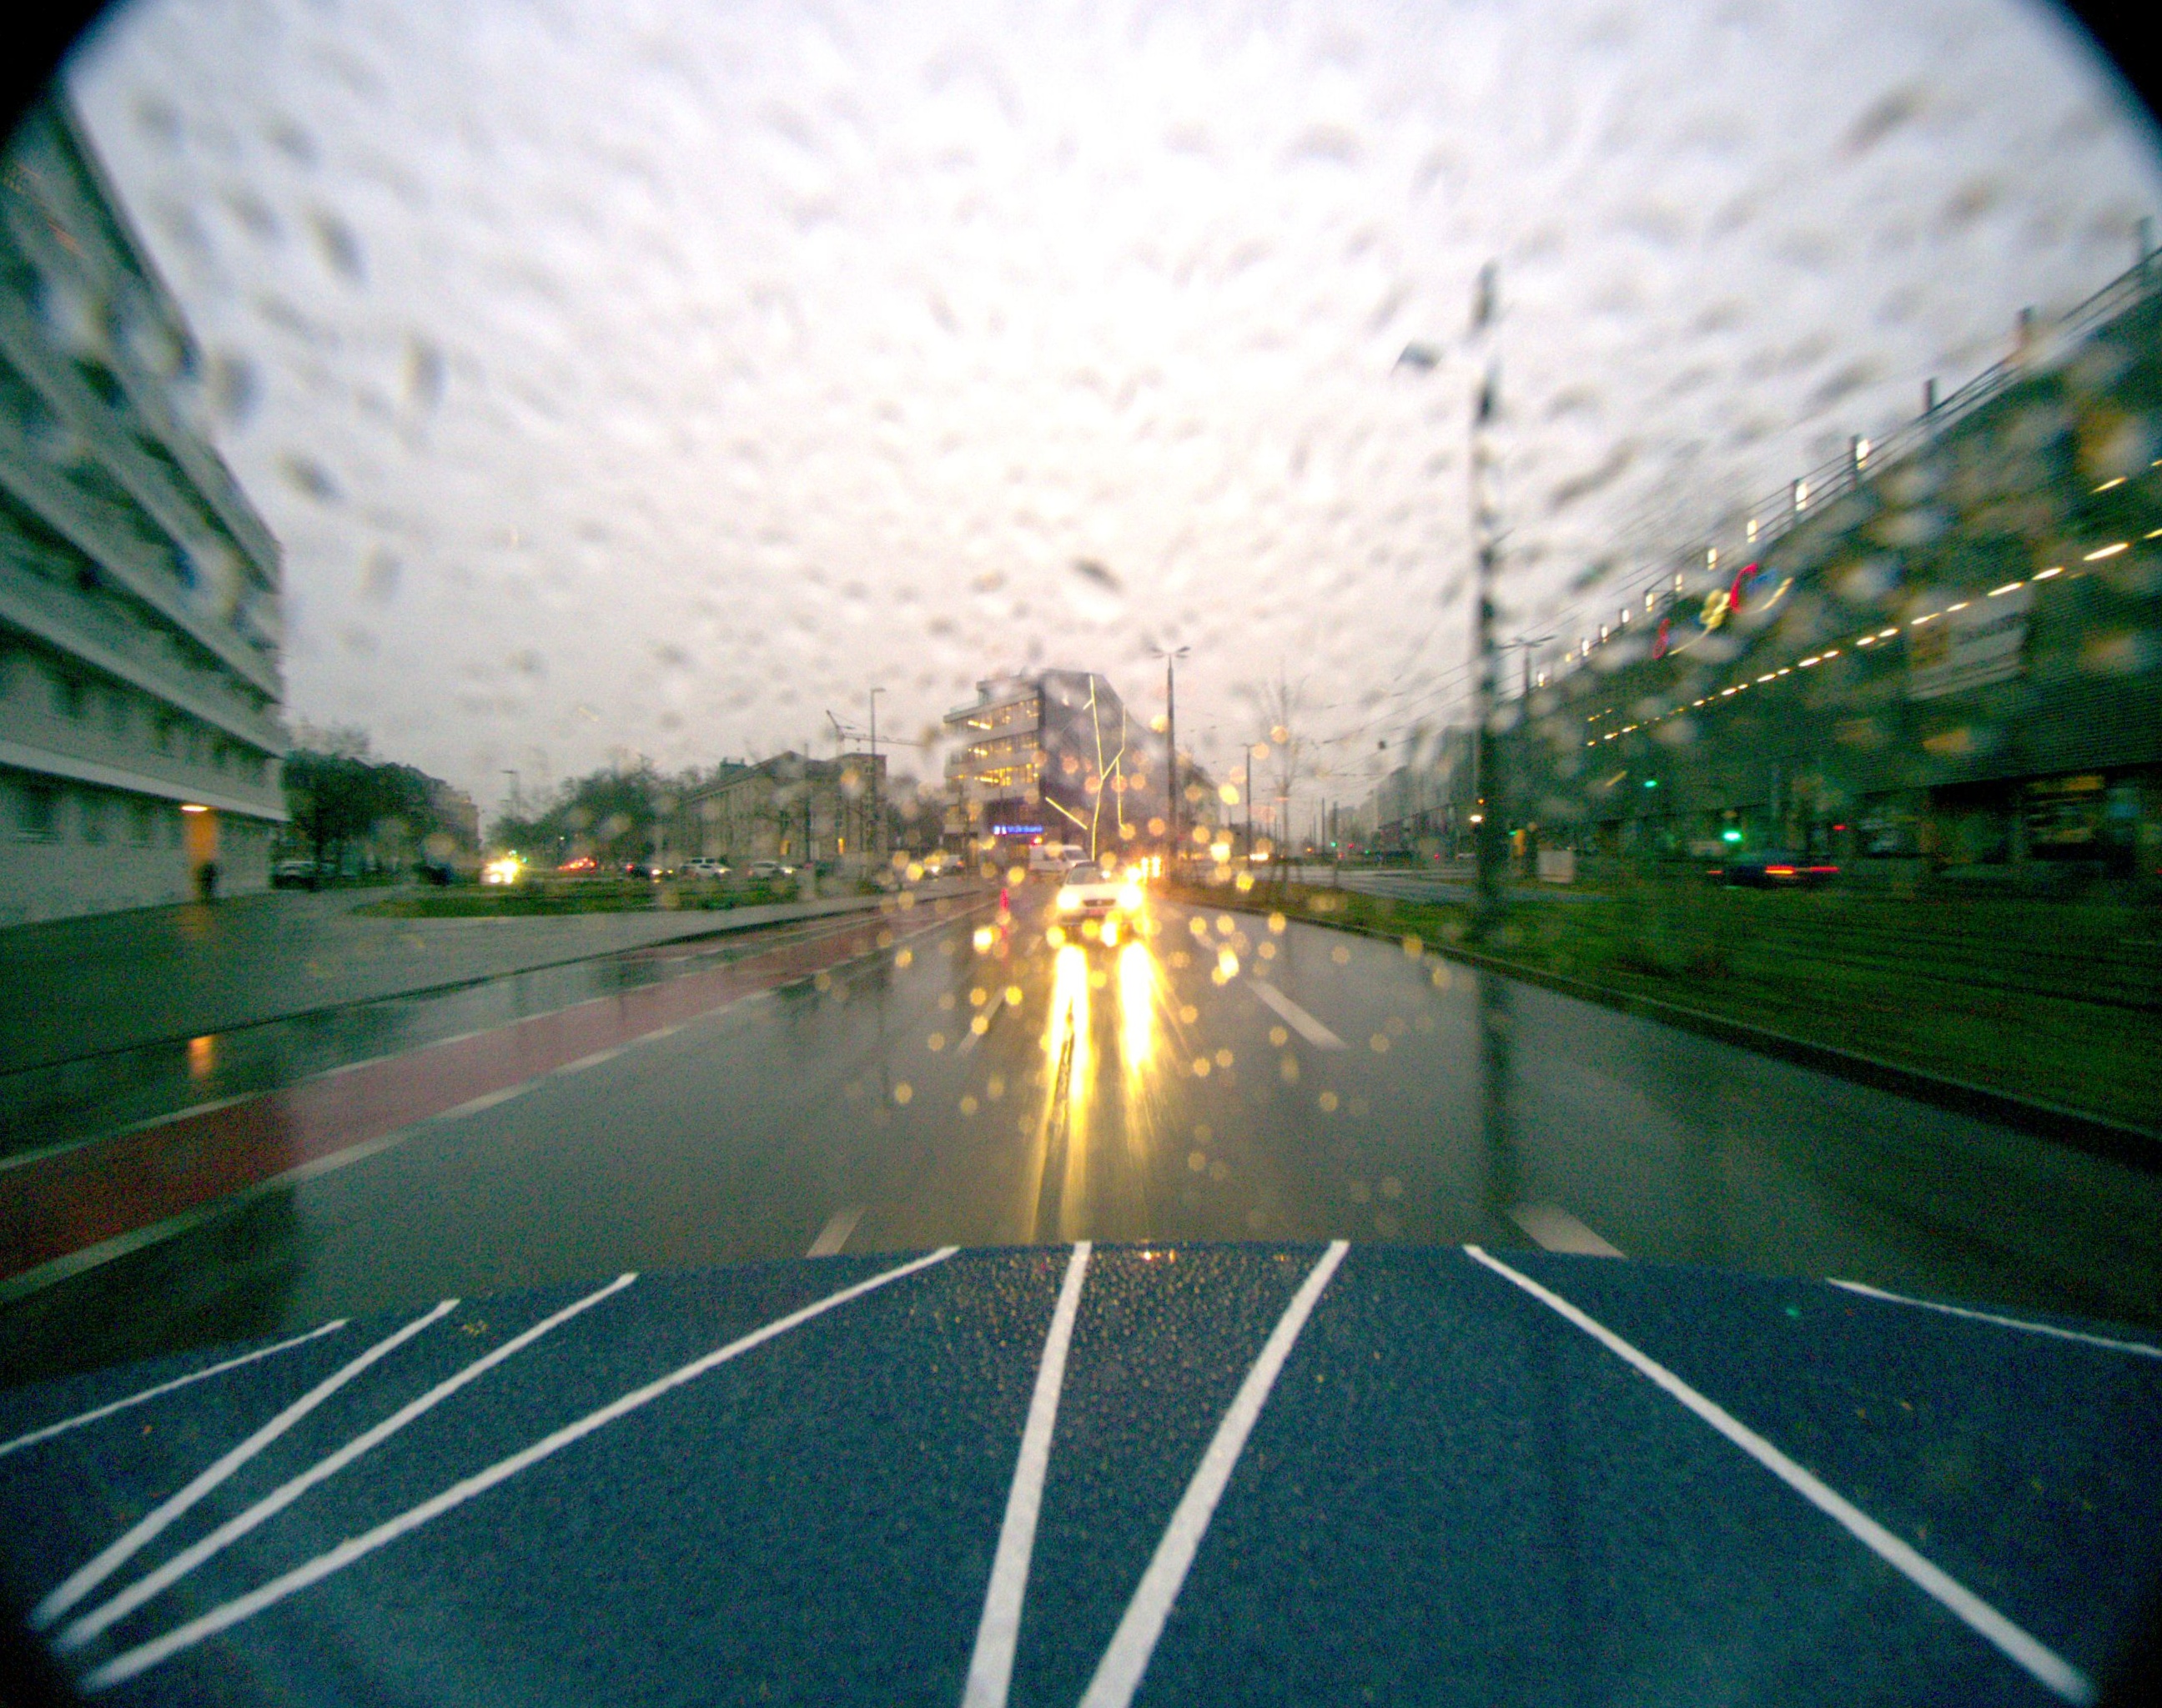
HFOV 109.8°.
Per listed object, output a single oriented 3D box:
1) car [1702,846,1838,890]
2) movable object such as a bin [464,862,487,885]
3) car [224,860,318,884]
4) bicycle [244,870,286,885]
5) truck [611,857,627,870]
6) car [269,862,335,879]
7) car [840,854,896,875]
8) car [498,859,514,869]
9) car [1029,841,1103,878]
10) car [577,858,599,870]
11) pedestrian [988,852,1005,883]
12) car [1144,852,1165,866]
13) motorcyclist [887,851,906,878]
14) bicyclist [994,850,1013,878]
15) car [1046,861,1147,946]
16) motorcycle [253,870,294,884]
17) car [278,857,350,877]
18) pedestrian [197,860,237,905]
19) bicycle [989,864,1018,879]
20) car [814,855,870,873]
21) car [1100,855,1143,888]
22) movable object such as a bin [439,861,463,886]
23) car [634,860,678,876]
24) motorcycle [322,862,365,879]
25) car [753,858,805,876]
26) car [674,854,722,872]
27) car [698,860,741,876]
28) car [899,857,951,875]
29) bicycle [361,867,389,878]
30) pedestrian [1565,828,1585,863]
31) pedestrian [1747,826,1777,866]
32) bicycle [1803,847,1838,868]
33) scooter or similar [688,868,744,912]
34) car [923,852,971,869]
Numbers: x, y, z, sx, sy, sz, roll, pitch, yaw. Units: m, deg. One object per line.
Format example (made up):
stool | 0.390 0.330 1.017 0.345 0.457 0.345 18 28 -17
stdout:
car | 24.252 0.463 26.946 1.818 1.434 3.960 -1 0 12
movable object such as a bin | -40.576 1.293 50.902 1.055 1.501 1.249 -1 1 -33
car | -57.177 1.251 53.715 1.738 1.560 4.163 -1 0 20
bicycle | -53.097 1.538 49.437 0.445 0.926 1.799 0 -1 27
truck | -74.134 1.488 121.899 1.842 2.032 3.989 -1 0 -36
car | -68.671 1.435 67.042 1.517 1.391 3.694 -1 0 22
car | -17.582 0.859 62.780 3.998 1.590 1.905 0 2 17
car | -79.361 1.385 104.862 1.756 1.362 3.605 -1 0 -37
car | -1.131 0.358 54.015 2.247 2.449 5.653 -2 1 -39
car | -81.262 1.625 125.237 1.908 1.861 4.948 -4 3 -45
pedestrian | -5.169 0.789 46.434 0.777 1.867 0.633 -1 1 -36
car | 9.477 0.656 97.708 1.830 1.652 4.005 -1 0 16
motorcyclist | -12.690 0.714 52.260 0.919 1.871 0.888 0 1 44
bicyclist | -5.269 0.700 51.700 0.987 1.879 0.794 0 1 23
car | 0.415 0.913 15.907 1.787 1.371 4.223 -2 1 4
motorcycle | -54.391 1.576 51.204 0.511 0.926 1.799 0 -1 22
car | -72.419 1.202 71.815 1.777 1.757 4.352 -1 0 21
pedestrian | -31.875 1.042 28.037 0.632 1.623 0.722 -1 1 9
bicycle | -5.255 1.209 51.618 1.862 0.968 0.658 -1 1 23
car | -21.102 0.901 67.059 4.353 1.561 1.829 -1 0 16
car | 1.922 0.764 35.209 1.722 1.380 3.823 -1 1 6
movable object such as a bin | -41.674 1.274 50.274 1.055 1.566 1.137 -1 1 -33
car | -41.097 1.361 73.473 4.159 1.466 1.881 -1 1 31
motorcycle | -60.650 1.357 62.525 0.882 1.337 2.364 1 -2 36
car | -27.352 1.168 68.863 4.214 1.590 1.678 -1 1 16
car | -45.102 1.086 89.472 5.647 2.047 1.957 -1 0 26
car | -33.660 1.260 70.747 3.339 1.422 1.693 0 1 19
car | -13.411 1.052 65.356 3.911 1.455 1.765 -1 2 12
bicycle | -62.651 1.645 67.474 1.799 0.926 0.444 1 -1 -40
pedestrian | 41.196 -0.726 63.370 1.111 2.909 0.967 0 2 17
pedestrian | 41.678 -0.475 46.505 0.964 2.425 1.115 0 2 17
bicycle | 43.033 0.191 44.236 0.476 1.115 2.093 0 2 16
scooter or similar | -10.959 1.063 22.879 0.669 1.220 1.558 0 2 13
car | -14.159 0.682 80.638 4.604 1.709 1.930 -1 1 7
